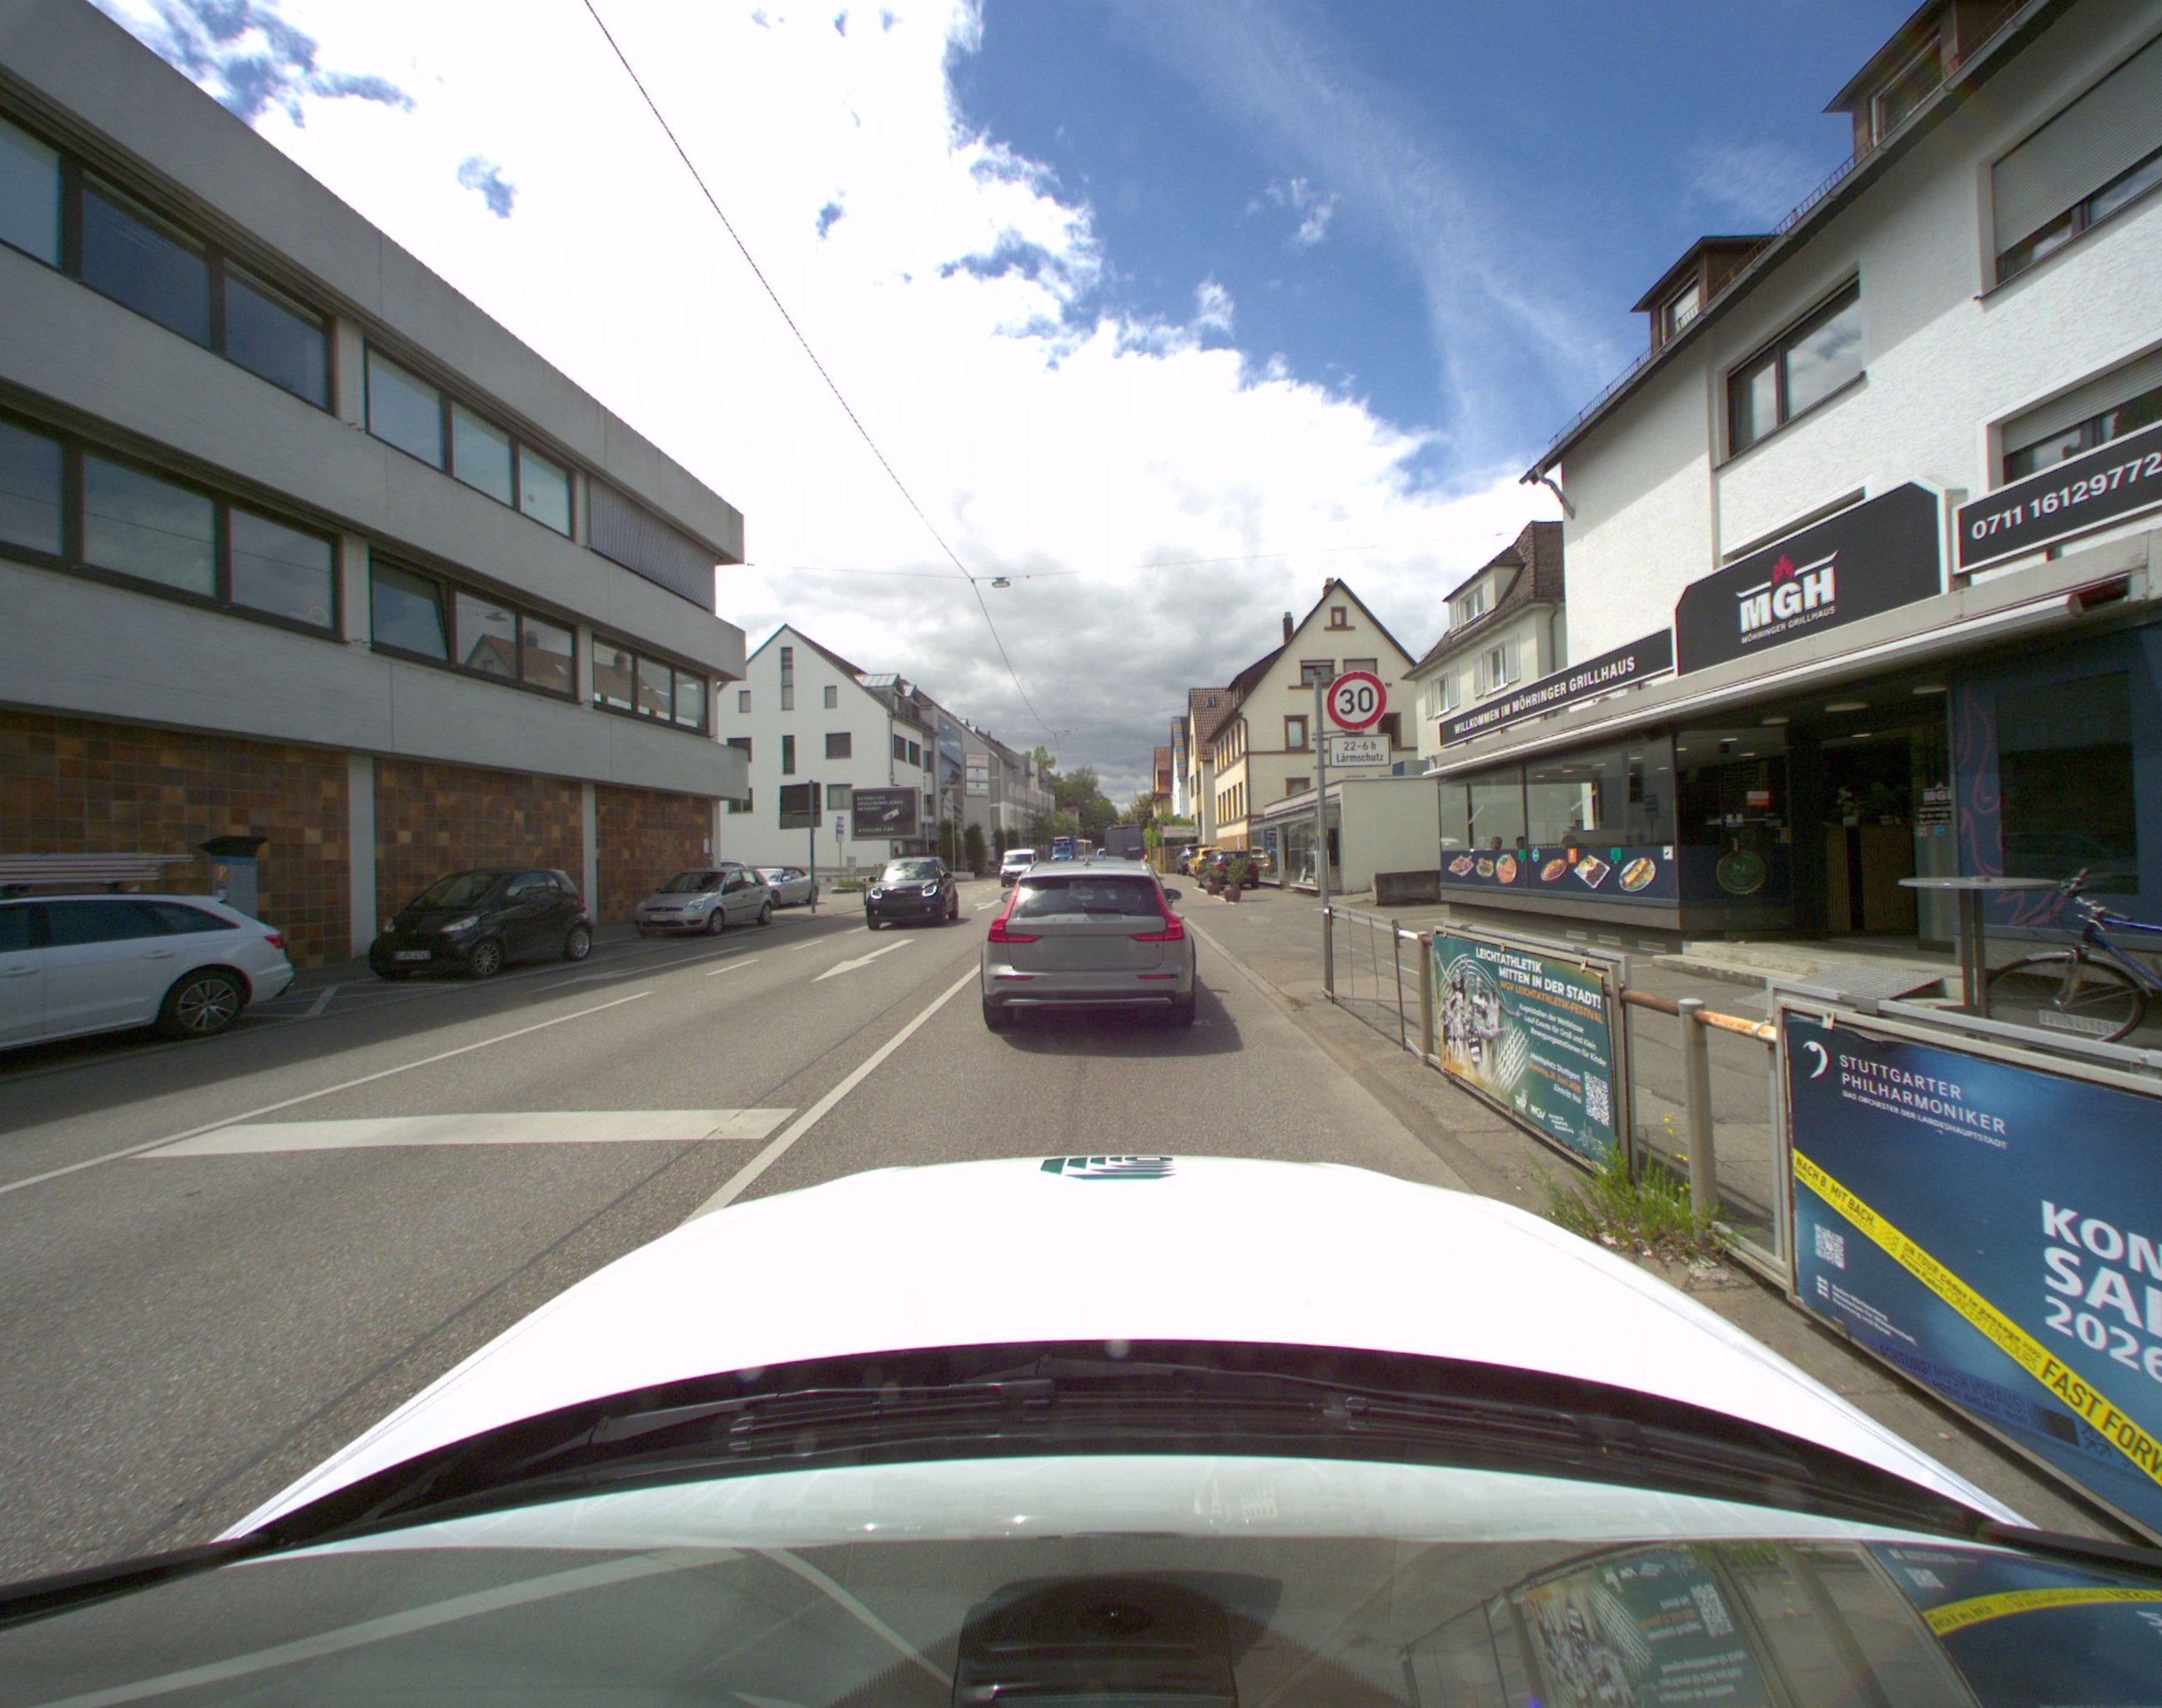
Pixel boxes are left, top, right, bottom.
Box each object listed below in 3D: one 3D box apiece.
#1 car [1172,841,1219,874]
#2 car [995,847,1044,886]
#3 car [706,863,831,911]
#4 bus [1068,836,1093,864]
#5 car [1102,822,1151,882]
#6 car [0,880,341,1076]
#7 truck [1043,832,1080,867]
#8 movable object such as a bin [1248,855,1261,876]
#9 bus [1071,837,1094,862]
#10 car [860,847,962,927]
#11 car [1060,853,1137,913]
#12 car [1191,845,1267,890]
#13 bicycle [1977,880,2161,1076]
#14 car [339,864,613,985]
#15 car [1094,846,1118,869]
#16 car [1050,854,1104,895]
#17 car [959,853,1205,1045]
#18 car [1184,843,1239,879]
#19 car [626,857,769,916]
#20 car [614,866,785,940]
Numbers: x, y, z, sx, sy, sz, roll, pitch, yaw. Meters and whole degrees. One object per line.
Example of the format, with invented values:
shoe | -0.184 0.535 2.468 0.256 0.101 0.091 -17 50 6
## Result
car | 6.055 0.167 43.544 1.854 1.612 4.587 -3 0 1
car | -3.071 0.609 41.475 1.938 1.820 4.280 -2 0 2
car | -10.486 1.071 27.830 1.941 1.358 4.863 -2 0 6
bus | -0.036 -0.498 101.397 2.672 3.163 10.188 -2 0 2
car | 2.272 -0.121 41.860 2.244 2.795 5.572 -2 0 2
car | -9.509 1.042 6.690 2.034 1.444 4.959 -1 0 5
truck | -1.813 -0.442 79.566 2.842 3.093 8.095 -2 0 3
movable object such as a bin | 7.809 0.506 36.643 0.498 0.925 0.599 -2 0 6
bus | 0.292 -0.549 110.508 2.705 3.163 8.074 -2 0 3
car | -3.795 0.691 18.636 1.671 1.635 2.833 -2 0 0
car | 0.551 0.713 22.146 1.888 1.446 3.972 -1 0 3
car | 5.378 0.457 30.252 1.962 1.447 4.535 -2 0 0
bicycle | 6.117 0.689 4.456 0.474 1.028 1.632 -2 0 -7
car | -9.000 0.973 12.447 1.728 1.556 3.061 -1 0 5
car | 2.348 0.303 75.809 1.985 2.013 4.004 -1 0 4
car | -0.226 0.737 31.581 1.892 1.446 3.964 -1 0 -3
car | 0.133 0.737 8.288 1.888 1.453 3.972 -1 0 4
car | 6.142 0.283 38.750 1.871 1.447 4.307 -2 2 0
car | -13.087 1.045 28.196 1.940 1.619 4.941 -4 0 8
car | -8.581 1.030 18.782 1.714 1.422 4.153 -1 0 4
